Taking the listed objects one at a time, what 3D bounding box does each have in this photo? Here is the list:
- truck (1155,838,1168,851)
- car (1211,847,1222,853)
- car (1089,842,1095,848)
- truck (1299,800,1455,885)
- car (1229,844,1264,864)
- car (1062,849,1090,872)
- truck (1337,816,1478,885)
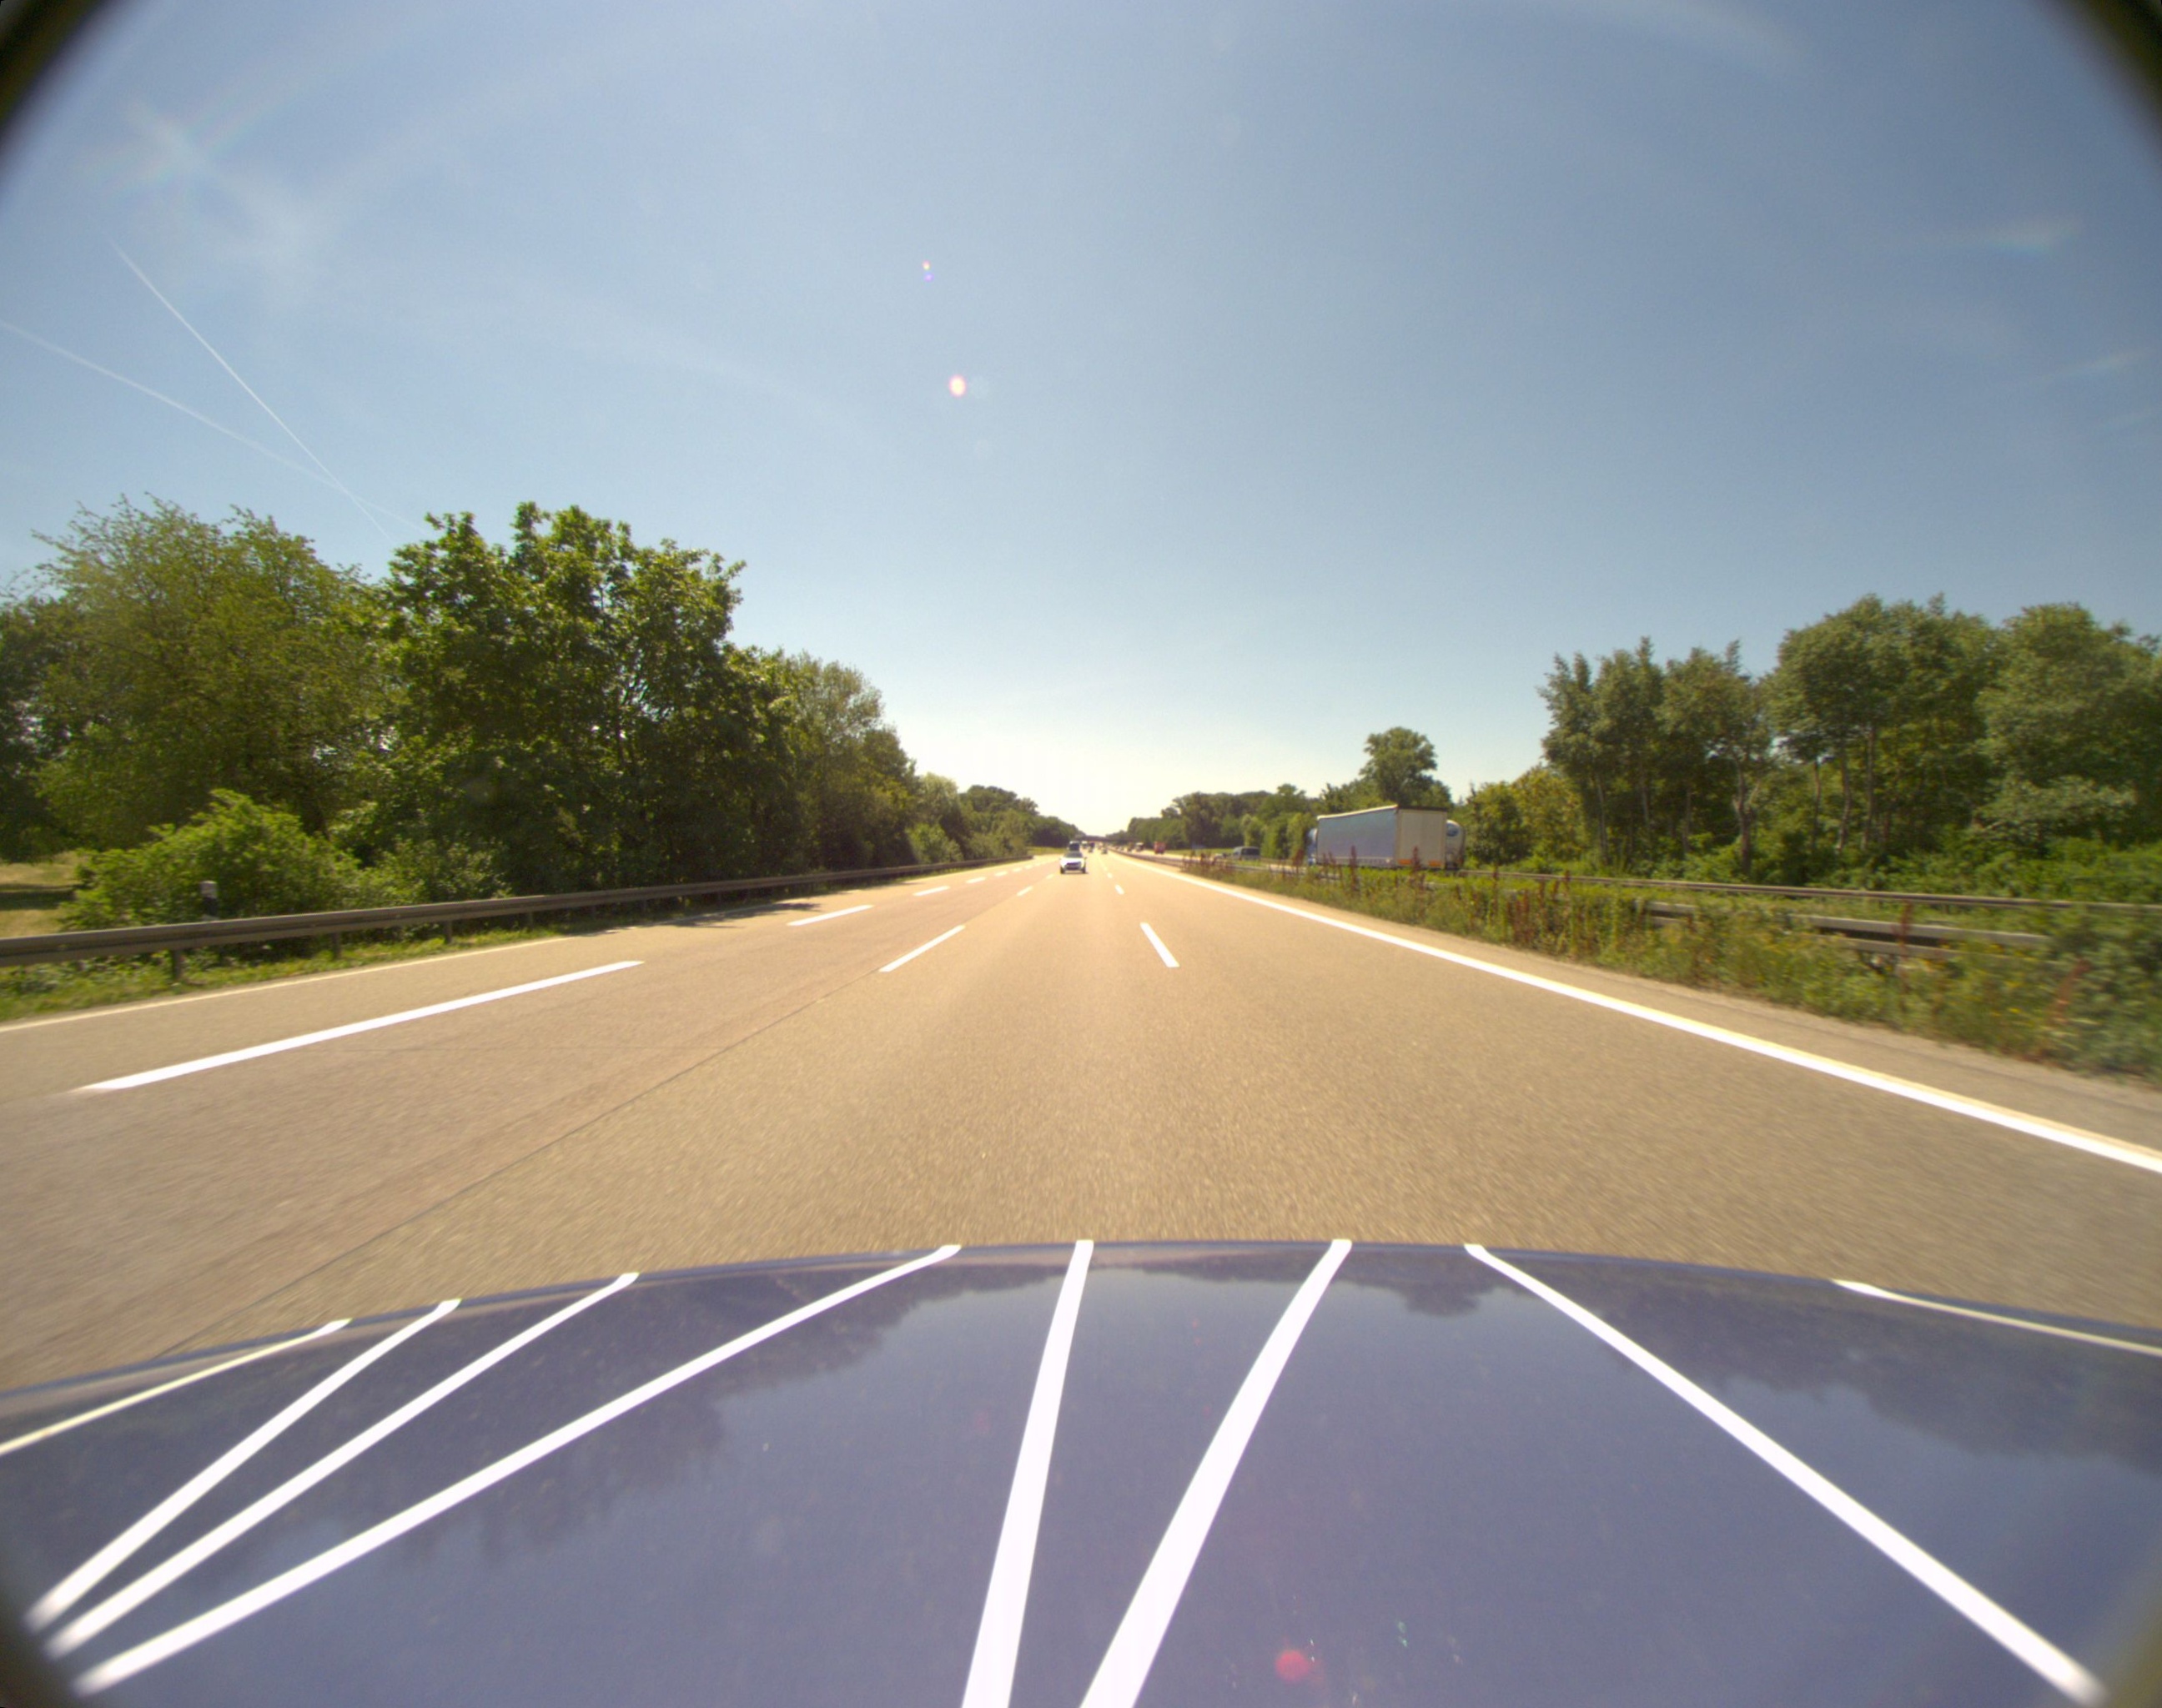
[{"bbox_3d":[24.723,-2.939,234.528,3.072,3.706,9.805,0,1,1],"label":"truck"},{"bbox_3d":[33.099,-0.895,185.316,1.998,1.404,4.972,0,1,2],"label":"car"},{"bbox_3d":[3.527,-2.847,242.504,1.840,2.002,4.000,0,1,2],"label":"car"},{"bbox_3d":[17.235,-0.654,46.519,2.962,4.221,17.179,1,1,1],"label":"truck"},{"bbox_3d":[13.812,-0.014,63.521,1.998,1.580,4.818,0,1,2],"label":"car"},{"bbox_3d":[-0.316,0.427,54.271,1.845,1.565,4.000,-1,1,1],"label":"car"},{"bbox_3d":[21.610,-0.295,52.061,2.962,3.995,15.819,1,1,1],"label":"truck"}]
